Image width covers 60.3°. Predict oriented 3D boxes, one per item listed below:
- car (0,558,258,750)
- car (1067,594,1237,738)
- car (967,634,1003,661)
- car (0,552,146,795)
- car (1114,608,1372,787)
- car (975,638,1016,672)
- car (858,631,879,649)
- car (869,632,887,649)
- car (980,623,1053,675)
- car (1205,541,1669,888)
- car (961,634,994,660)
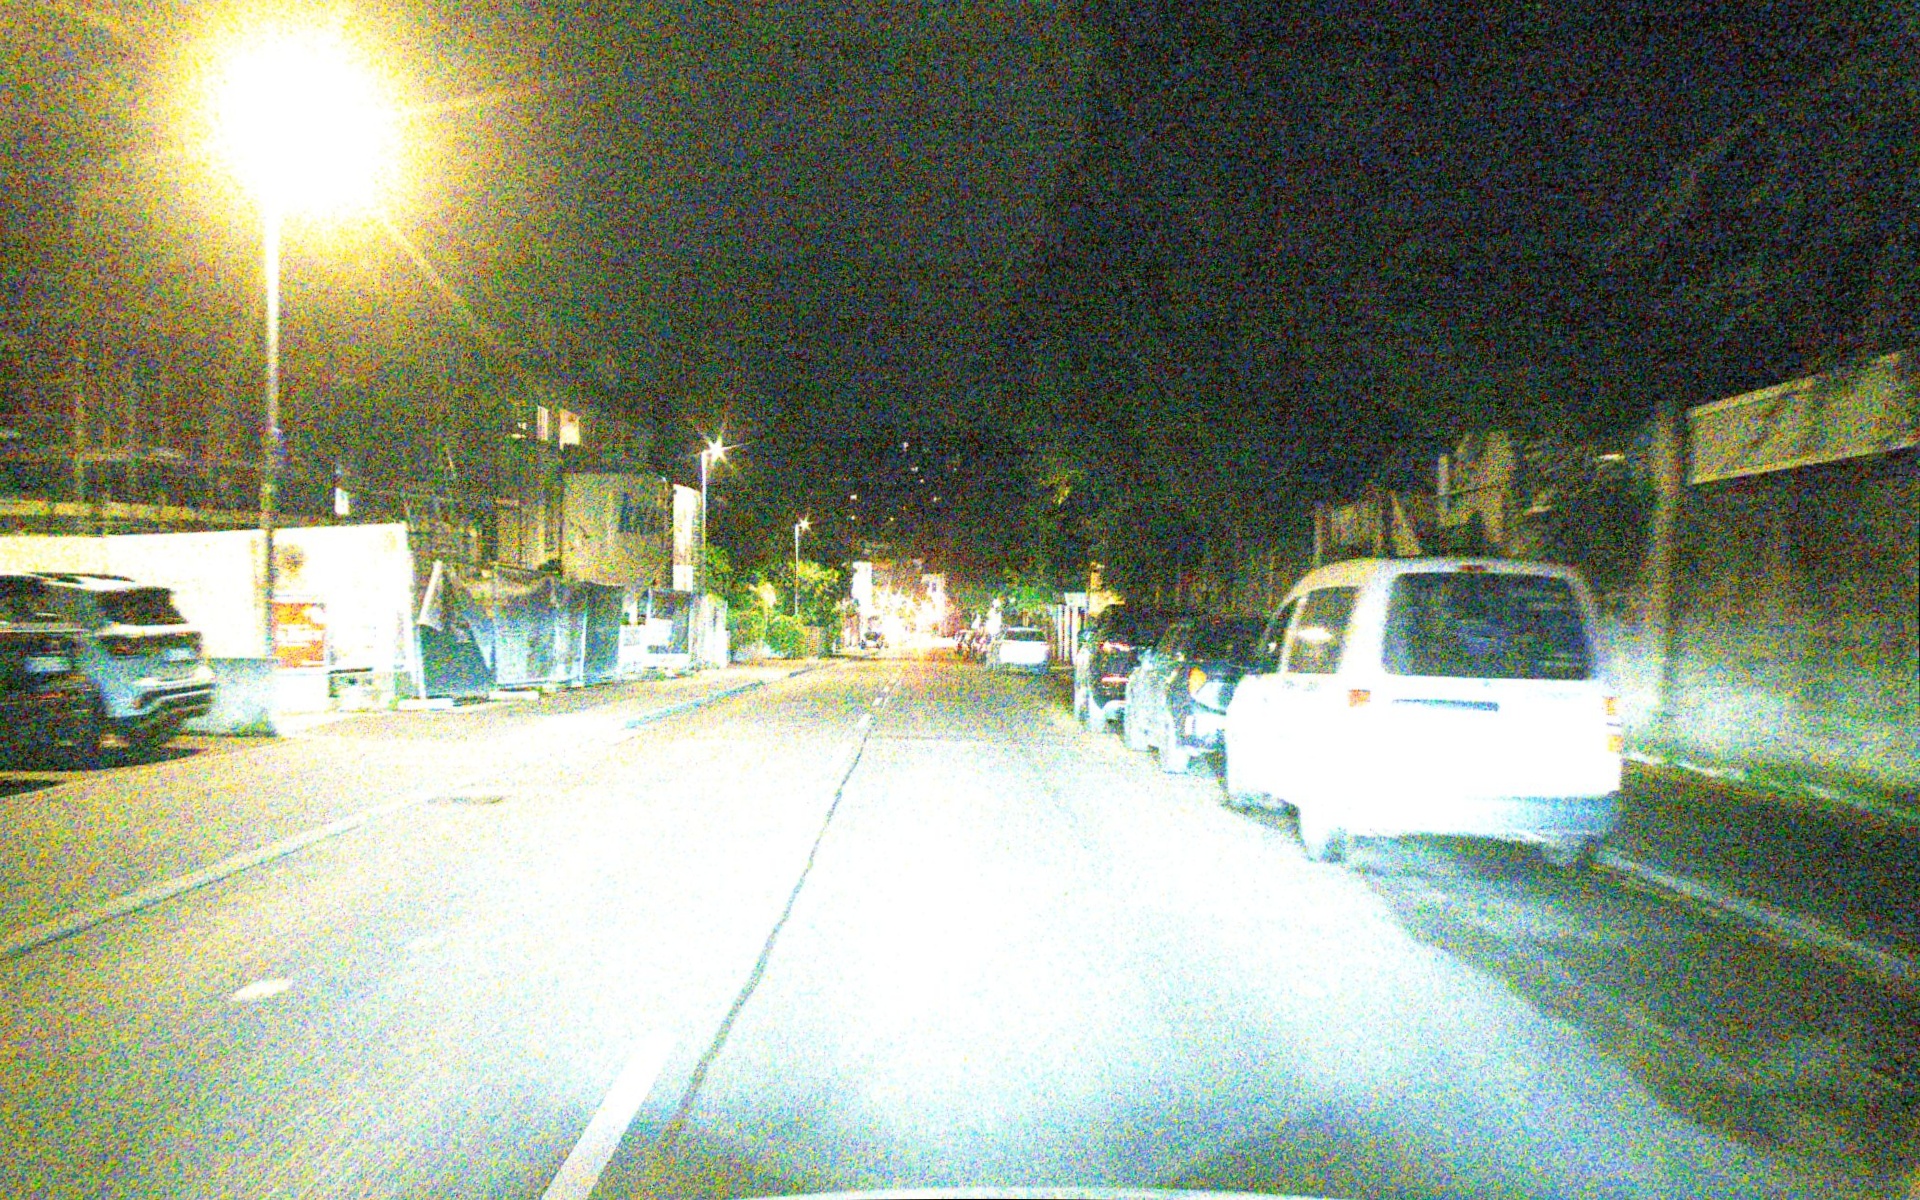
[{"bbox_3d":[-8.610,0.419,14.873,3.734,1.582,1.927,1,1,-2],"label":"car"},{"bbox_3d":[2.473,0.843,22.287,1.794,1.693,4.618,1,-1,1],"label":"car"},{"bbox_3d":[1.454,2.724,94.775,1.829,1.427,4.001,2,-1,3],"label":"car"},{"bbox_3d":[-8.630,0.486,12.043,4.326,1.642,2.065,1,-1,0],"label":"car"},{"bbox_3d":[2.692,0.876,16.667,1.708,1.496,4.255,3,-1,-2],"label":"car"},{"bbox_3d":[1.596,2.488,75.120,1.597,1.464,3.862,1,-1,-3],"label":"car"},{"bbox_3d":[-7.811,3.419,141.430,1.719,1.566,3.727,1,-1,-5],"label":"car"},{"bbox_3d":[-7.830,3.859,158.545,1.718,1.566,3.728,1,-1,-2],"label":"car"},{"bbox_3d":[1.733,1.514,51.833,1.728,1.501,4.271,3,-1,-5],"label":"car"},{"bbox_3d":[2.896,0.614,11.181,1.683,1.792,4.757,2,0,0],"label":"car"},{"bbox_3d":[1.044,2.828,99.611,1.649,1.474,3.997,2,-1,-3],"label":"car"}]
